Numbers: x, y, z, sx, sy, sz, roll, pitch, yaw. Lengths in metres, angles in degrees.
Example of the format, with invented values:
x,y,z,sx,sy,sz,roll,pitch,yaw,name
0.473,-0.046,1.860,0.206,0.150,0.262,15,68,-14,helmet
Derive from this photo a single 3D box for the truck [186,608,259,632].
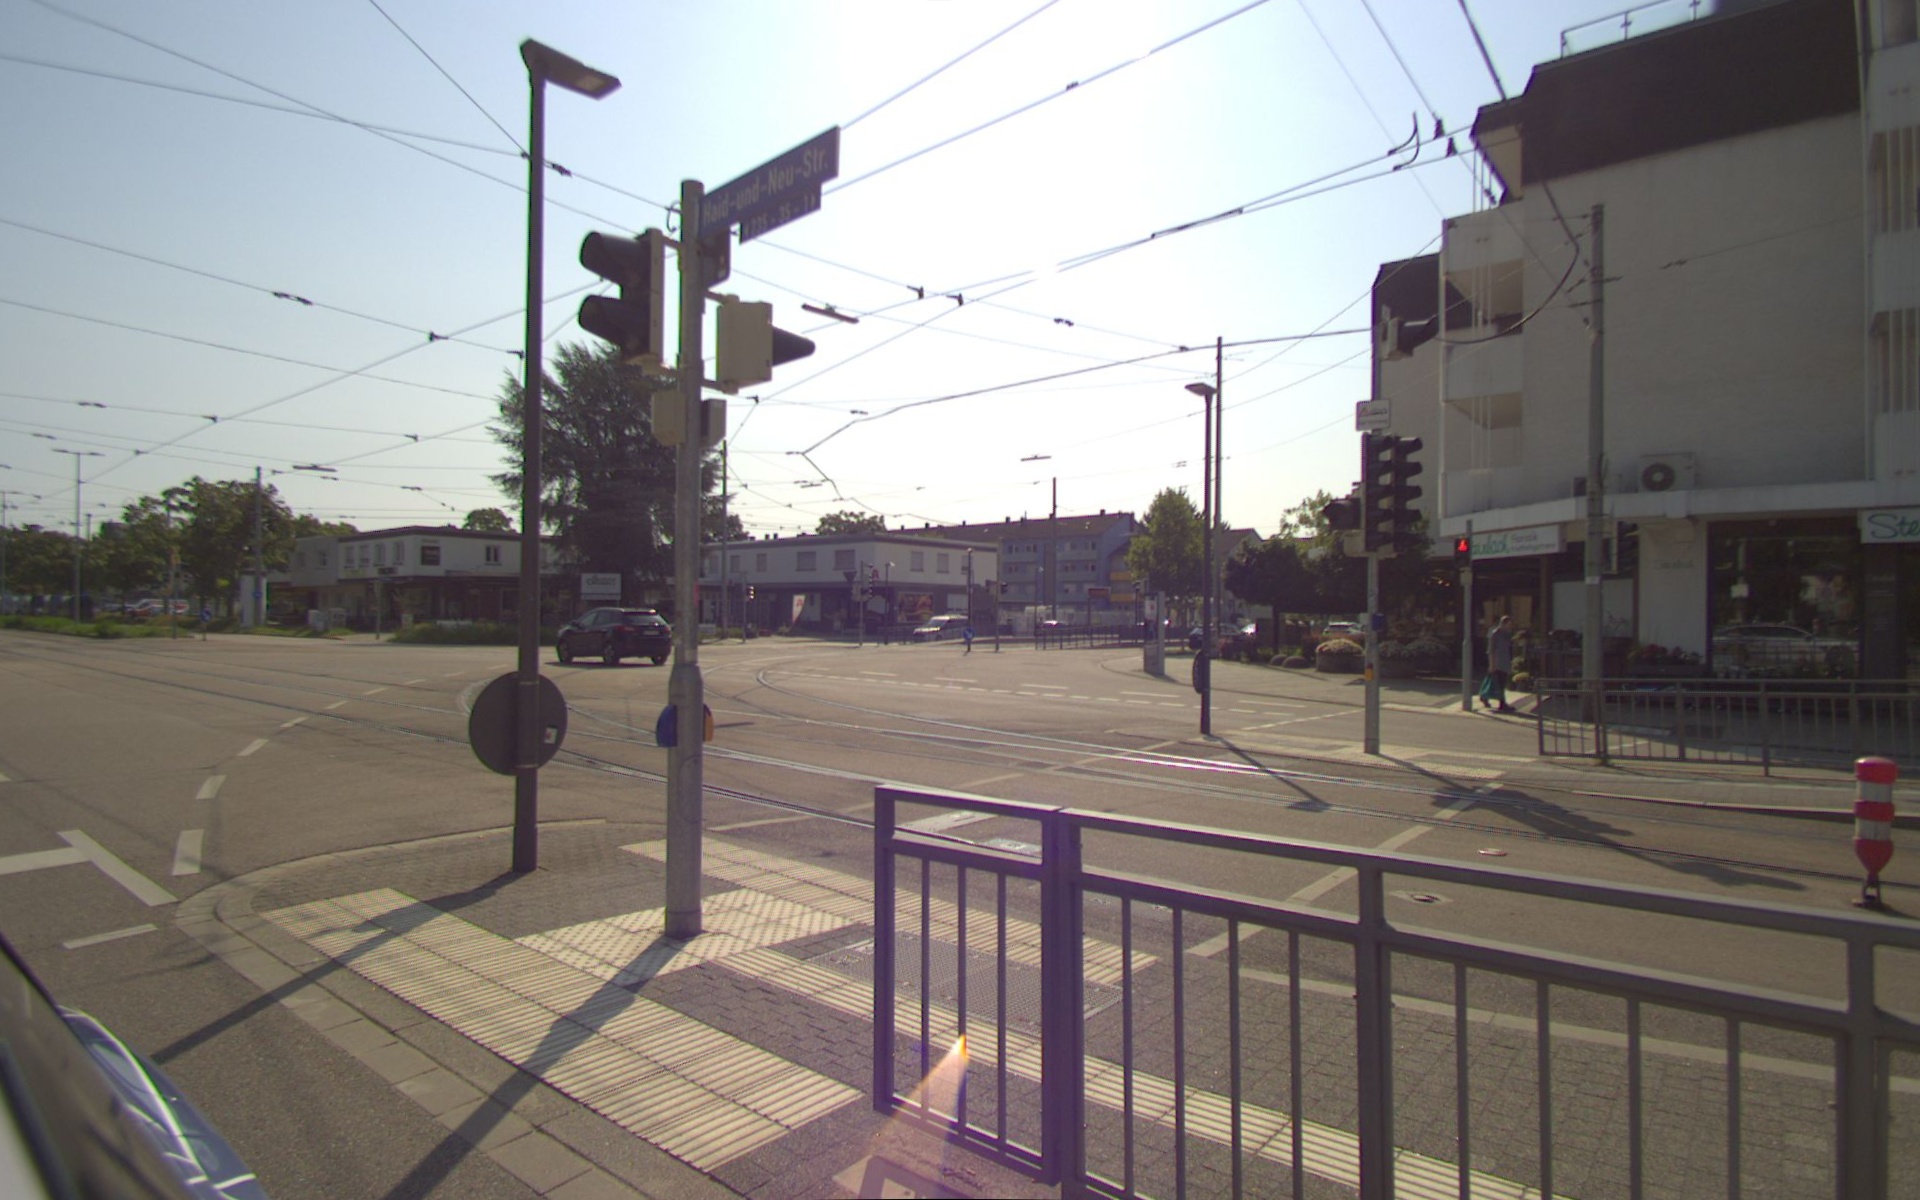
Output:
x,y,z,sx,sy,sz,roll,pitch,yaw,name
-74.187,2.025,101.840,2.257,2.189,5.436,-1,-4,39,truck

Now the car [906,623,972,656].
x,y,z,sx,sy,sz,roll,pitch,yaw,name
-1.257,2.396,62.142,1.823,1.901,3.971,-1,-2,41,car

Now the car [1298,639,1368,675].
x,y,z,sx,sy,sz,roll,pitch,yaw,name
17.790,2.678,48.167,1.928,1.519,4.068,-1,-1,39,car

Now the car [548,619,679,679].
x,y,z,sx,sy,sz,roll,pitch,yaw,name
-10.417,1.430,30.303,4.246,1.667,1.794,-1,-3,41,car

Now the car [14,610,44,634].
x,y,z,sx,sy,sz,roll,pitch,yaw,name
-102.040,2.423,110.886,5.907,2.606,1.803,-1,-1,41,car

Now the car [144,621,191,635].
x,y,z,sx,sy,sz,roll,pitch,yaw,name
-90.148,3.179,115.136,1.631,1.461,3.884,-1,-4,39,car

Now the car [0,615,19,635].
x,y,z,sx,sy,sz,roll,pitch,yaw,name
-119.160,3.075,126.022,4.827,2.477,2.121,-1,-4,39,car

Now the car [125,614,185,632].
x,y,z,sx,sy,sz,roll,pitch,yaw,name
-96.080,2.737,120.846,2.050,1.940,5.134,-1,-4,39,car

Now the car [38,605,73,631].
x,y,z,sx,sy,sz,roll,pitch,yaw,name
-92.419,1.837,103.376,6.465,2.606,1.967,-1,-1,42,car

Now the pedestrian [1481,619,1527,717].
x,y,z,sx,sy,sz,roll,pitch,yaw,name
9.973,1.239,18.558,0.559,1.758,0.599,1,-3,7,pedestrian

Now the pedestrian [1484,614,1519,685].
x,y,z,sx,sy,sz,roll,pitch,yaw,name
13.784,1.257,25.753,0.697,1.754,0.673,-1,-4,39,pedestrian

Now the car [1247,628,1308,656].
x,y,z,sx,sy,sz,roll,pitch,yaw,name
16.488,2.181,52.450,1.671,1.309,4.069,-1,-4,38,car

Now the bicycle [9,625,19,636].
x,y,z,sx,sy,sz,roll,pitch,yaw,name
-97.606,3.097,104.417,0.706,1.099,2.267,4,-4,-44,bicycle

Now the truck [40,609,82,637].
x,y,z,sx,sy,sz,roll,pitch,yaw,name
-85.542,2.165,96.266,5.734,2.567,2.060,-1,-4,40,truck

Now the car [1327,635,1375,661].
x,y,z,sx,sy,sz,roll,pitch,yaw,name
24.151,2.953,62.473,1.671,1.492,3.866,-1,-4,39,car

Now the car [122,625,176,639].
x,y,z,sx,sy,sz,roll,pitch,yaw,name
-94.465,3.705,117.956,1.631,1.461,4.608,-1,-4,39,car

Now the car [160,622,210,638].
x,y,z,sx,sy,sz,roll,pitch,yaw,name
-82.536,3.183,107.813,1.631,1.530,3.884,-1,-4,39,car

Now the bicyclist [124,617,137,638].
x,y,z,sx,sy,sz,roll,pitch,yaw,name
-61.695,2.016,75.290,0.488,1.534,0.564,0,-3,29,bicyclist

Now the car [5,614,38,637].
x,y,z,sx,sy,sz,roll,pitch,yaw,name
-108.144,2.938,116.582,5.627,2.606,2.110,-1,-4,41,car

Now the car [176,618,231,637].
x,y,z,sx,sy,sz,roll,pitch,yaw,name
-79.910,2.907,106.920,1.631,1.798,4.355,-1,-4,39,car

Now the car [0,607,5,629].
x,y,z,sx,sy,sz,roll,pitch,yaw,name
-126.636,2.255,132.095,7.227,2.826,2.102,-1,-4,41,car

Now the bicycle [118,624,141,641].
x,y,z,sx,sy,sz,roll,pitch,yaw,name
-61.828,2.421,75.322,2.199,1.189,0.571,-2,-5,31,bicycle
